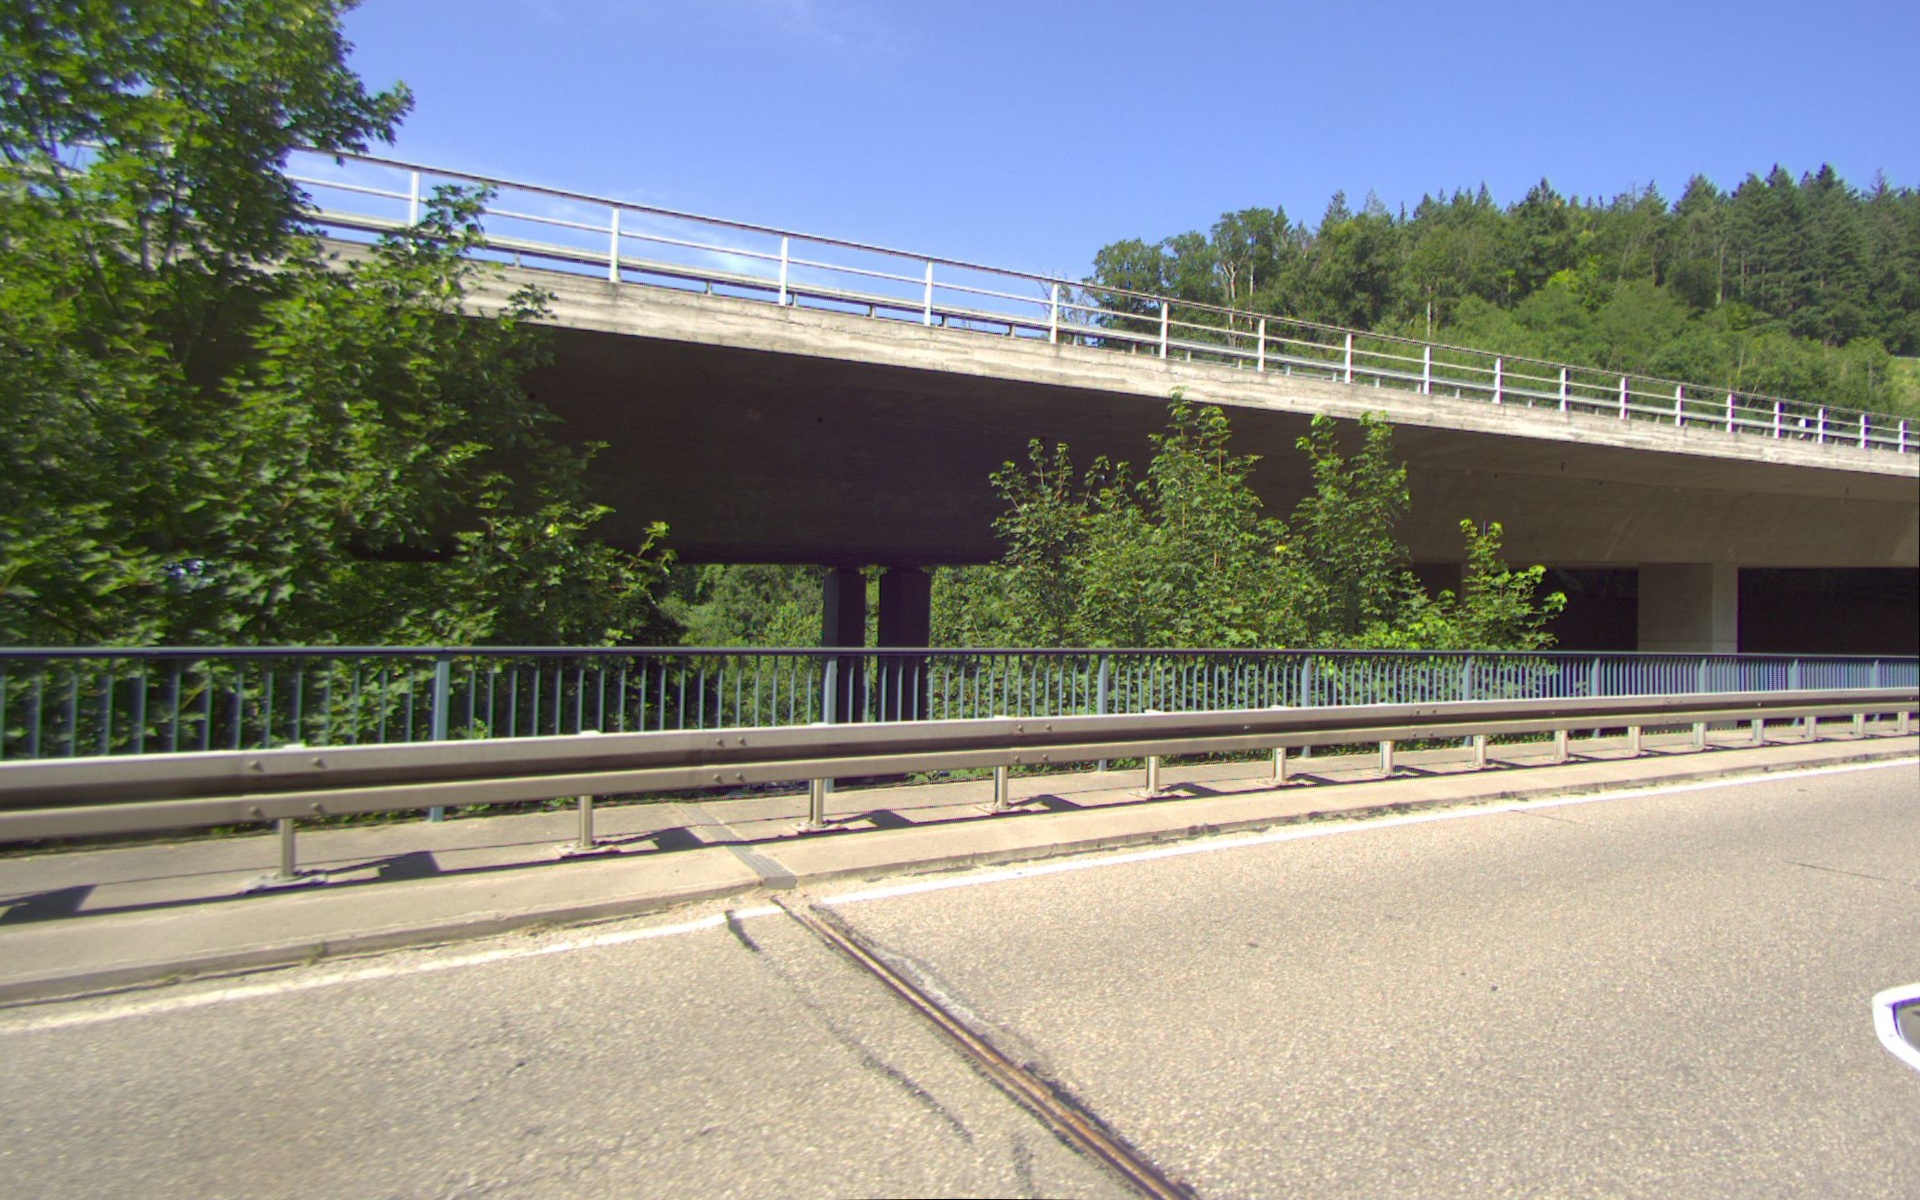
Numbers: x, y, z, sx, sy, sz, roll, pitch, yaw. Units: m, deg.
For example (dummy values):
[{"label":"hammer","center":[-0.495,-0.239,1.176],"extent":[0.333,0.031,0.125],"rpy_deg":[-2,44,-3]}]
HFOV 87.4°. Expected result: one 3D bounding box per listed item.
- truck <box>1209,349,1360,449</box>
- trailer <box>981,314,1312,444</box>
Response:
[{"label":"truck","center":[12.498,-7.611,38.610],"extent":[5.395,2.917,2.386],"rpy_deg":[0,2,-27]},{"label":"trailer","center":[6.957,-7.631,35.862],"extent":[12.773,2.917,2.386],"rpy_deg":[0,1,-27]}]
